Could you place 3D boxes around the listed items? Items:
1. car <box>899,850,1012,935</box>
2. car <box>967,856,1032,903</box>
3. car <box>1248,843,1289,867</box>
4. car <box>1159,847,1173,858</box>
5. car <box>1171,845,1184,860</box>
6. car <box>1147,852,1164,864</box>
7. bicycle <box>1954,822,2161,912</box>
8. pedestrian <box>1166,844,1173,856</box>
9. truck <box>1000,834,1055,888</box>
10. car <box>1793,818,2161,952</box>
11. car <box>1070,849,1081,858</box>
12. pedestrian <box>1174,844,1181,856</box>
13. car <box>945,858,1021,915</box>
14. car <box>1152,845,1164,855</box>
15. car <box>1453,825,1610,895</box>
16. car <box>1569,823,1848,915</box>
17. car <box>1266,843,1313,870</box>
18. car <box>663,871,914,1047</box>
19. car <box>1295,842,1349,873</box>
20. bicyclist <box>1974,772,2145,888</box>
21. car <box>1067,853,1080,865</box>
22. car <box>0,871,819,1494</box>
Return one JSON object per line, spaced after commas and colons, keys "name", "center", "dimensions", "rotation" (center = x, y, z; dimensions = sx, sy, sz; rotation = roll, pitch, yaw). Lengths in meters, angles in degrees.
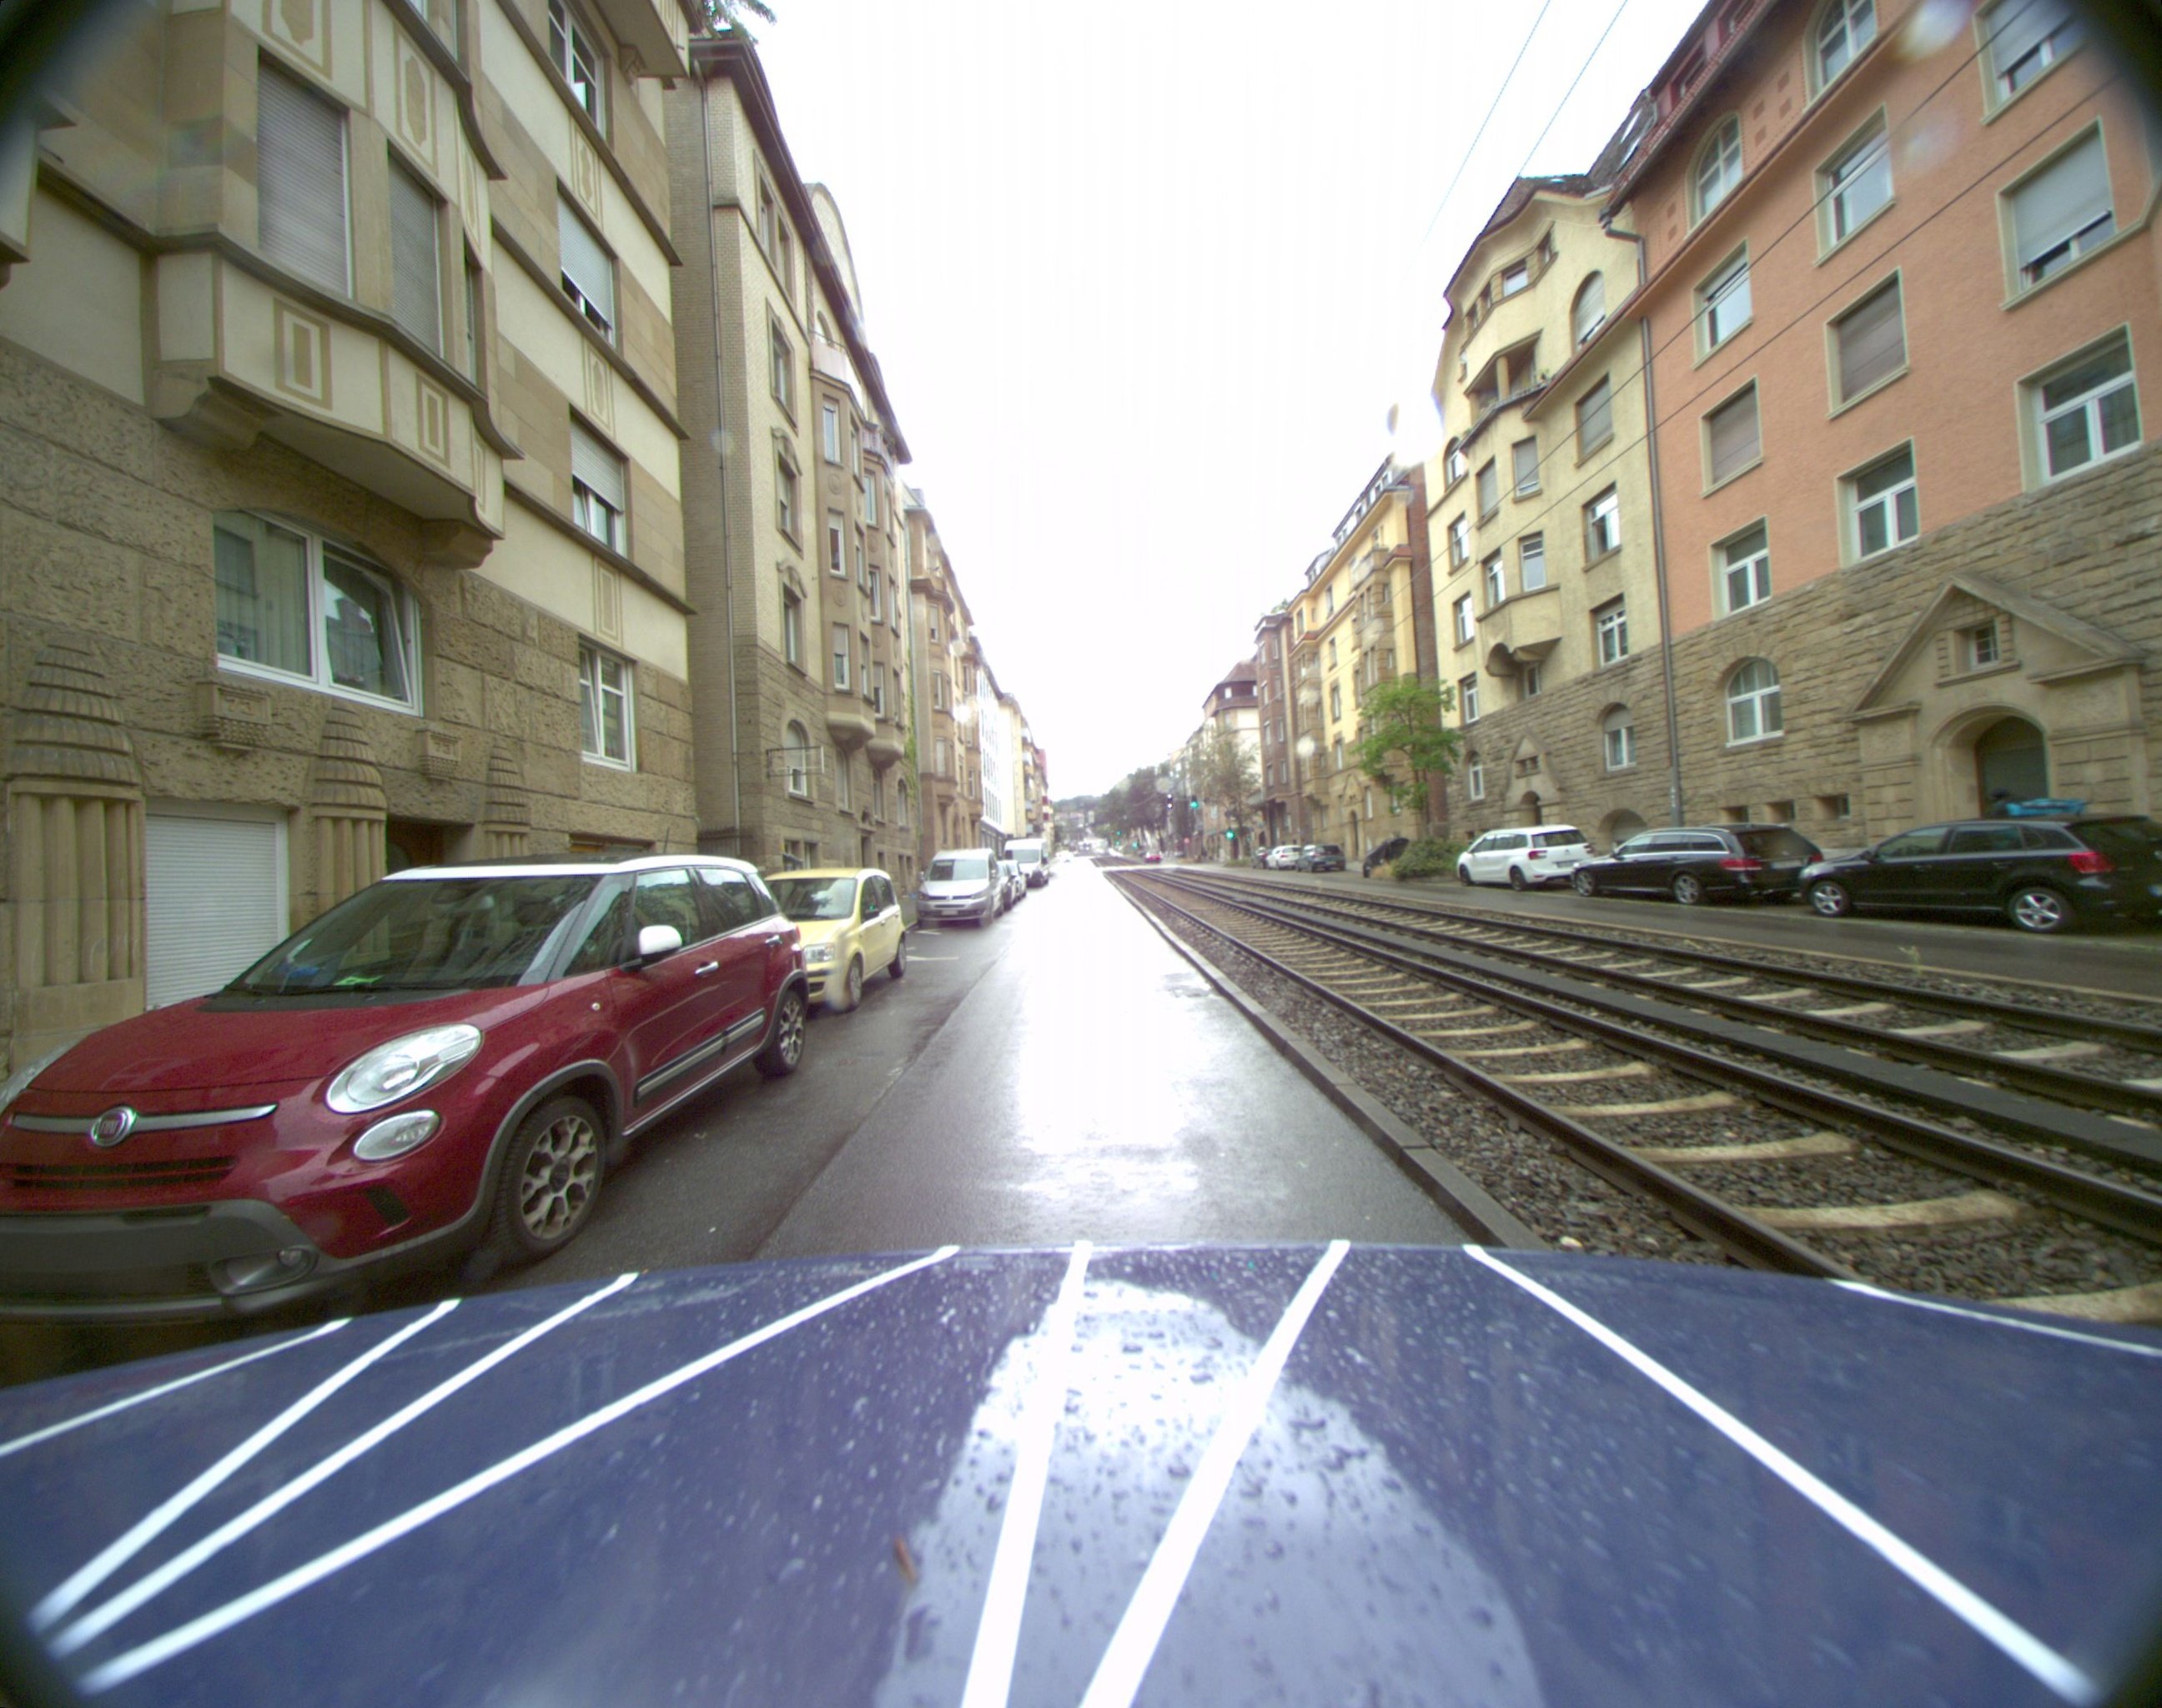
{"name": "car", "center": [-3.005, 0.853, 19.211], "dimensions": [1.968, 1.792, 4.459], "rotation": [-3, 0, 1]}
{"name": "car", "center": [-2.948, 0.887, 28.328], "dimensions": [1.891, 1.521, 3.929], "rotation": [-3, 0, 1]}
{"name": "car", "center": [12.485, 0.074, 50.760], "dimensions": [1.771, 1.433, 3.845], "rotation": [-3, 0, 1]}
{"name": "car", "center": [12.869, -0.270, 115.378], "dimensions": [1.771, 1.507, 3.845], "rotation": [-3, 0, 1]}
{"name": "car", "center": [12.673, -0.228, 99.558], "dimensions": [1.583, 1.669, 3.790], "rotation": [-3, 2, 7]}
{"name": "car", "center": [9.997, 0.541, 102.519], "dimensions": [1.807, 1.514, 4.964], "rotation": [-3, 0, 1]}
{"name": "bicycle", "center": [14.454, 0.168, 11.130], "dimensions": [0.826, 1.179, 2.036], "rotation": [-3, 0, -8]}
{"name": "pedestrian", "center": [14.666, -0.608, 125.804], "dimensions": [1.056, 1.946, 1.163], "rotation": [-3, 1, 2]}
{"name": "truck", "center": [-2.720, 0.349, 39.957], "dimensions": [2.235, 2.521, 6.143], "rotation": [-3, 0, 1]}
{"name": "car", "center": [12.534, 0.319, 10.479], "dimensions": [1.935, 1.488, 3.642], "rotation": [-2, 1, -2]}
{"name": "car", "center": [-1.127, -0.135, 153.221], "dimensions": [1.998, 1.562, 4.000], "rotation": [-3, 0, 1]}
{"name": "pedestrian", "center": [15.972, -0.658, 125.791], "dimensions": [1.056, 1.946, 1.163], "rotation": [-3, 1, 2]}
{"name": "car", "center": [-2.959, 0.944, 23.827], "dimensions": [1.999, 1.521, 3.999], "rotation": [-3, 0, -3]}
{"name": "car", "center": [12.838, -0.626, 126.848], "dimensions": [1.657, 1.589, 3.775], "rotation": [-3, 0, 1]}
{"name": "car", "center": [12.277, 0.140, 21.059], "dimensions": [1.867, 1.646, 4.146], "rotation": [-3, 0, 1]}
{"name": "car", "center": [12.296, 0.252, 15.397], "dimensions": [1.847, 1.486, 4.601], "rotation": [-3, 0, 1]}
{"name": "car", "center": [12.475, 0.126, 45.666], "dimensions": [1.771, 1.433, 4.031], "rotation": [-3, 0, 2]}
{"name": "car", "center": [-3.184, 1.045, 9.053], "dimensions": [1.580, 1.520, 3.578], "rotation": [-3, 0, -1]}
{"name": "car", "center": [12.508, 0.136, 39.627], "dimensions": [1.678, 1.433, 3.845], "rotation": [-4, 1, 3]}
{"name": "bicyclist", "center": [14.432, -0.336, 11.250], "dimensions": [0.887, 1.588, 1.252], "rotation": [-3, 1, -9]}
{"name": "car", "center": [-1.301, 0.884, 127.206], "dimensions": [1.998, 1.838, 4.000], "rotation": [-3, 0, 1]}
{"name": "car", "center": [-3.027, 0.982, 4.104], "dimensions": [1.807, 1.590, 3.999], "rotation": [-3, 0, -1]}
